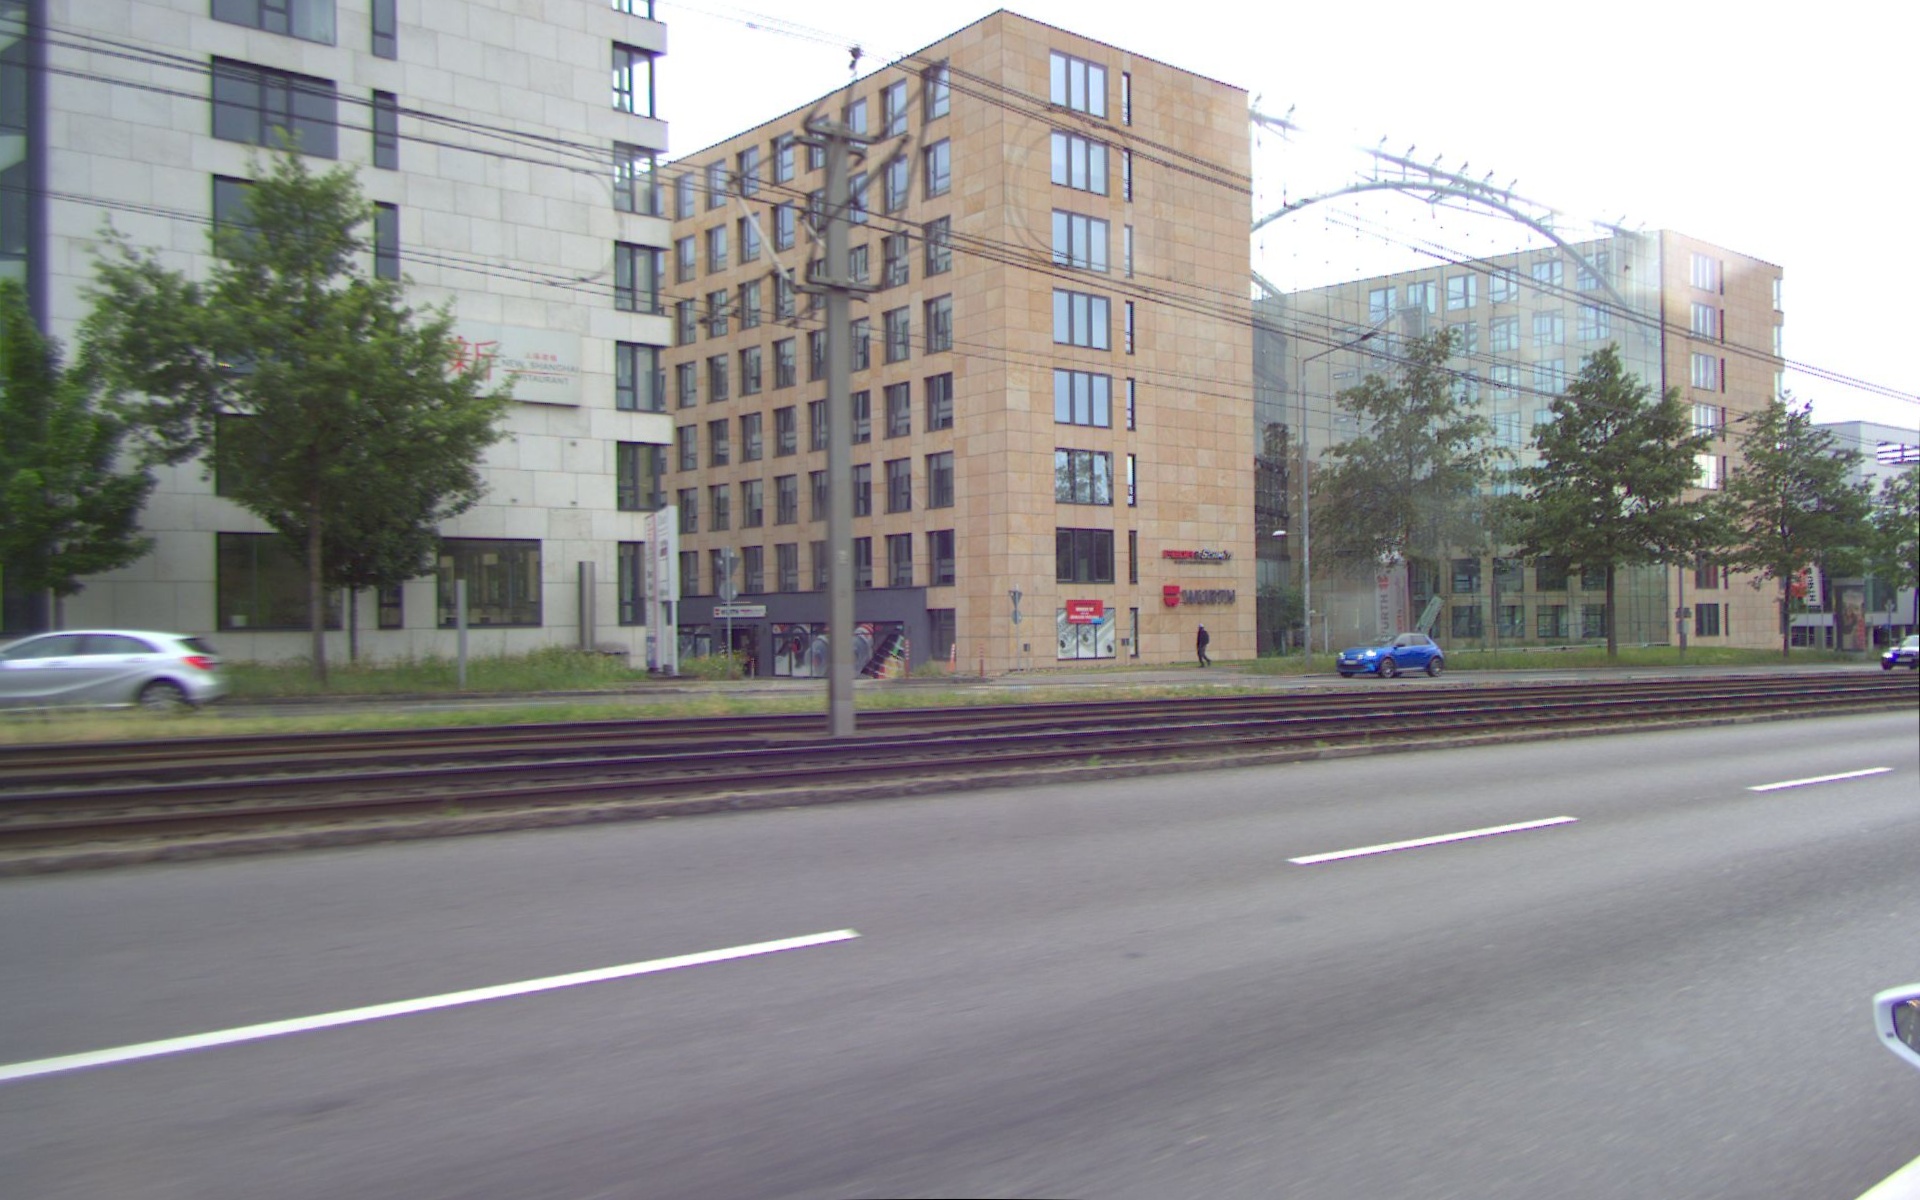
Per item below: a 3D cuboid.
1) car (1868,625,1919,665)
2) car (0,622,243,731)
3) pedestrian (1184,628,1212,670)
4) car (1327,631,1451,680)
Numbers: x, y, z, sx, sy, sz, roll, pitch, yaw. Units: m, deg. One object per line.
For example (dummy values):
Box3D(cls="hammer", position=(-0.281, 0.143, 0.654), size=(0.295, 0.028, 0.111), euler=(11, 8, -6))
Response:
Box3D(cls="car", position=(39.676, 1.908, 41.567), size=(4.147, 1.521, 1.765), euler=(3, -1, -28))
Box3D(cls="car", position=(-14.271, 1.154, 15.719), size=(4.761, 1.554, 1.751), euler=(1, 0, -30))
Box3D(cls="pedestrian", position=(9.558, 1.955, 40.324), size=(0.823, 1.653, 0.638), euler=(3, -1, -32))
Box3D(cls="car", position=(14.703, 1.908, 34.394), size=(3.976, 1.473, 1.833), euler=(3, -1, -29))
